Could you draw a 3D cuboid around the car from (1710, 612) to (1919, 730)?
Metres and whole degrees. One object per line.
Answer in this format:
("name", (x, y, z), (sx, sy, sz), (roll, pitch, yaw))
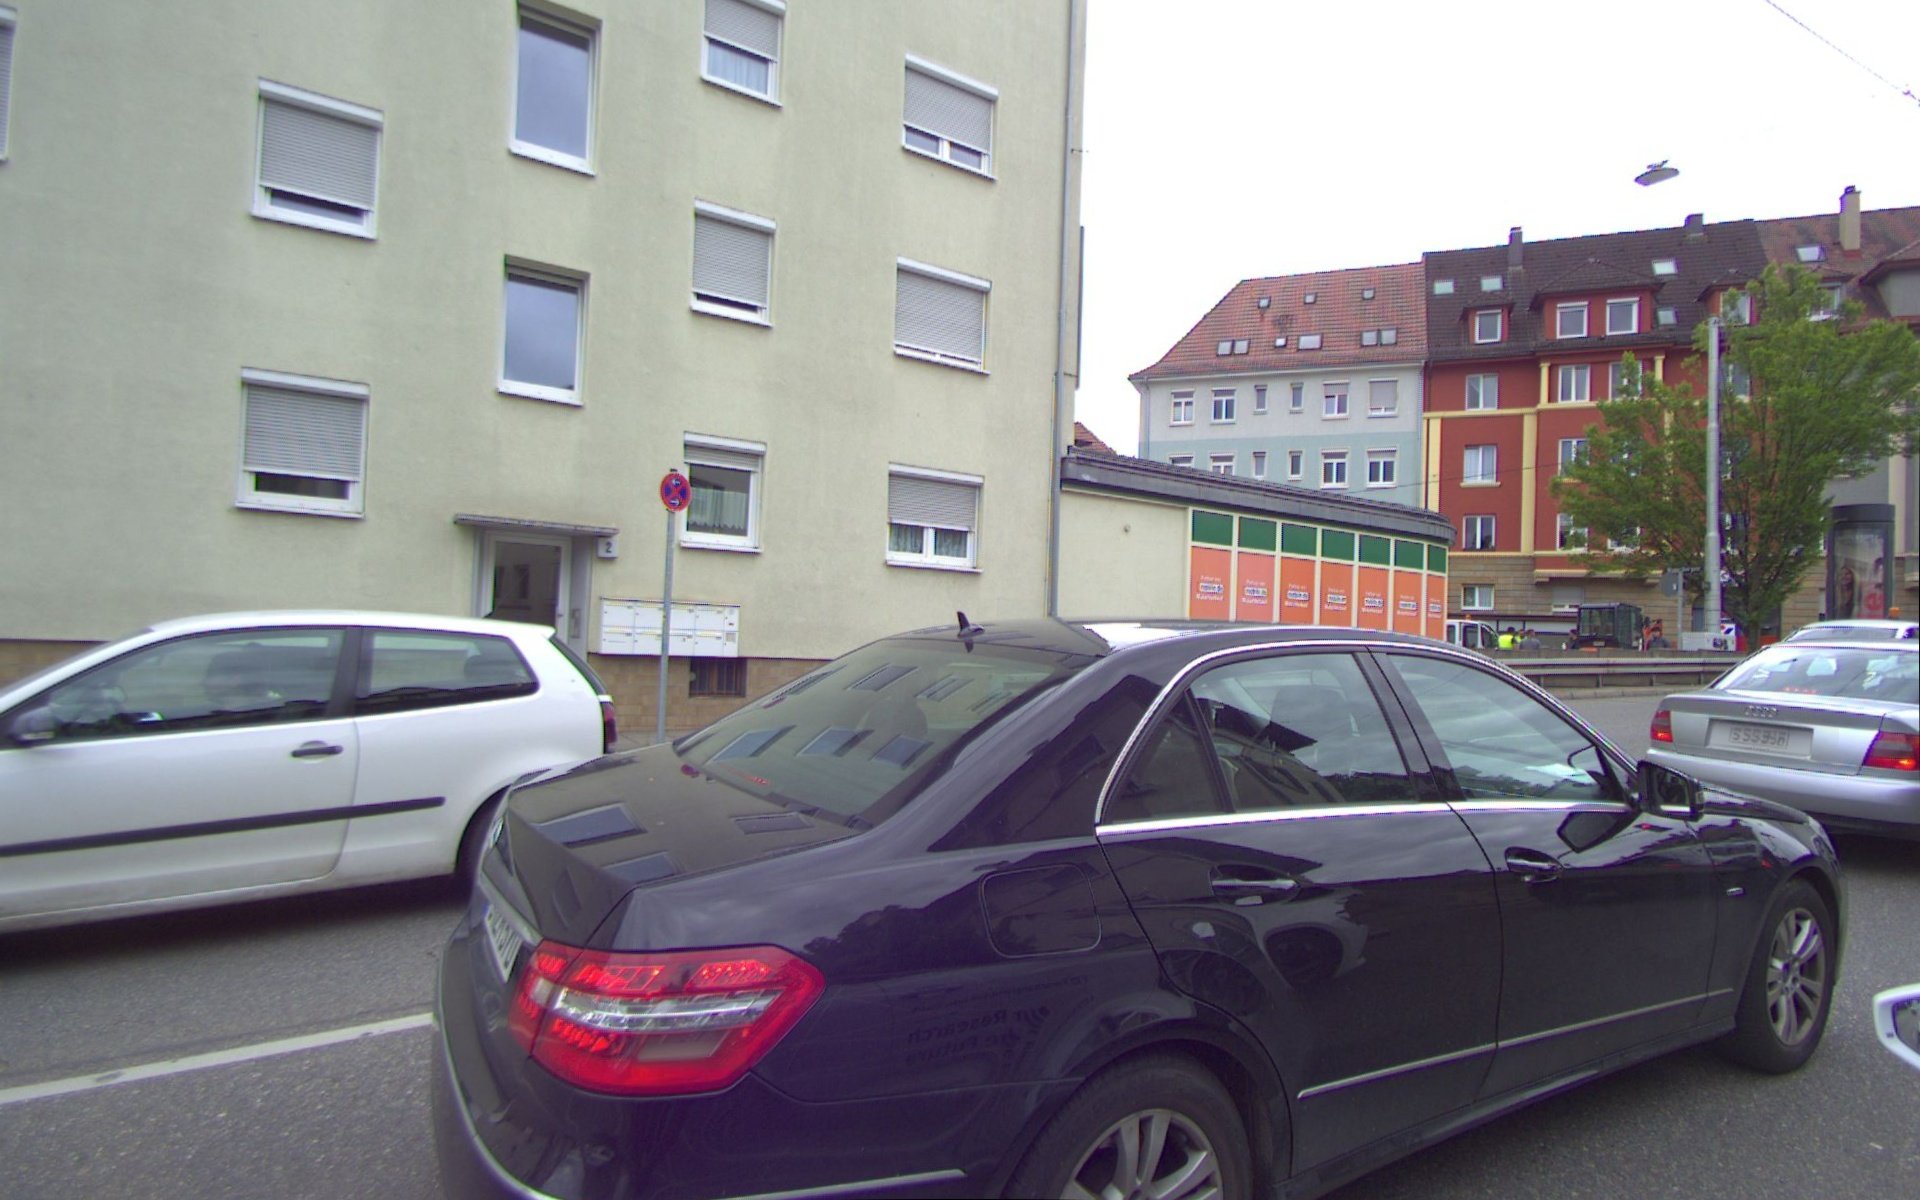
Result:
("car", (13.215, 1.014, 14.950), (4.033, 1.541, 1.764), (2, -3, -28))

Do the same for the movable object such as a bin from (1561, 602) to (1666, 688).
("movable object such as a bin", (16.557, 1.108, 25.385), (3.510, 2.040, 1.363), (2, -2, -42))

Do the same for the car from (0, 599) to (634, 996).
("car", (-3.595, 0.776, 4.806), (3.564, 1.502, 1.578), (2, -2, -36))

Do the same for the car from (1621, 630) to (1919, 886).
("car", (6.723, 0.917, 7.077), (4.073, 1.383, 1.623), (1, -2, -26))

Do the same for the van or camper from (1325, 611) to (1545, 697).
("van or camper", (14.538, 1.573, 31.022), (5.894, 2.369, 2.686), (0, -1, 26))

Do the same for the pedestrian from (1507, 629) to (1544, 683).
("pedestrian", (14.656, 1.436, 26.042), (0.613, 1.381, 0.602), (0, -1, 4))

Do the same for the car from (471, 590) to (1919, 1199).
("car", (1.081, 0.776, 3.385), (4.785, 1.447, 1.984), (1, -2, -30))

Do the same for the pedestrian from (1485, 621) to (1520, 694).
("pedestrian", (15.418, 1.610, 28.542), (0.811, 2.040, 0.680), (0, 0, 24))
